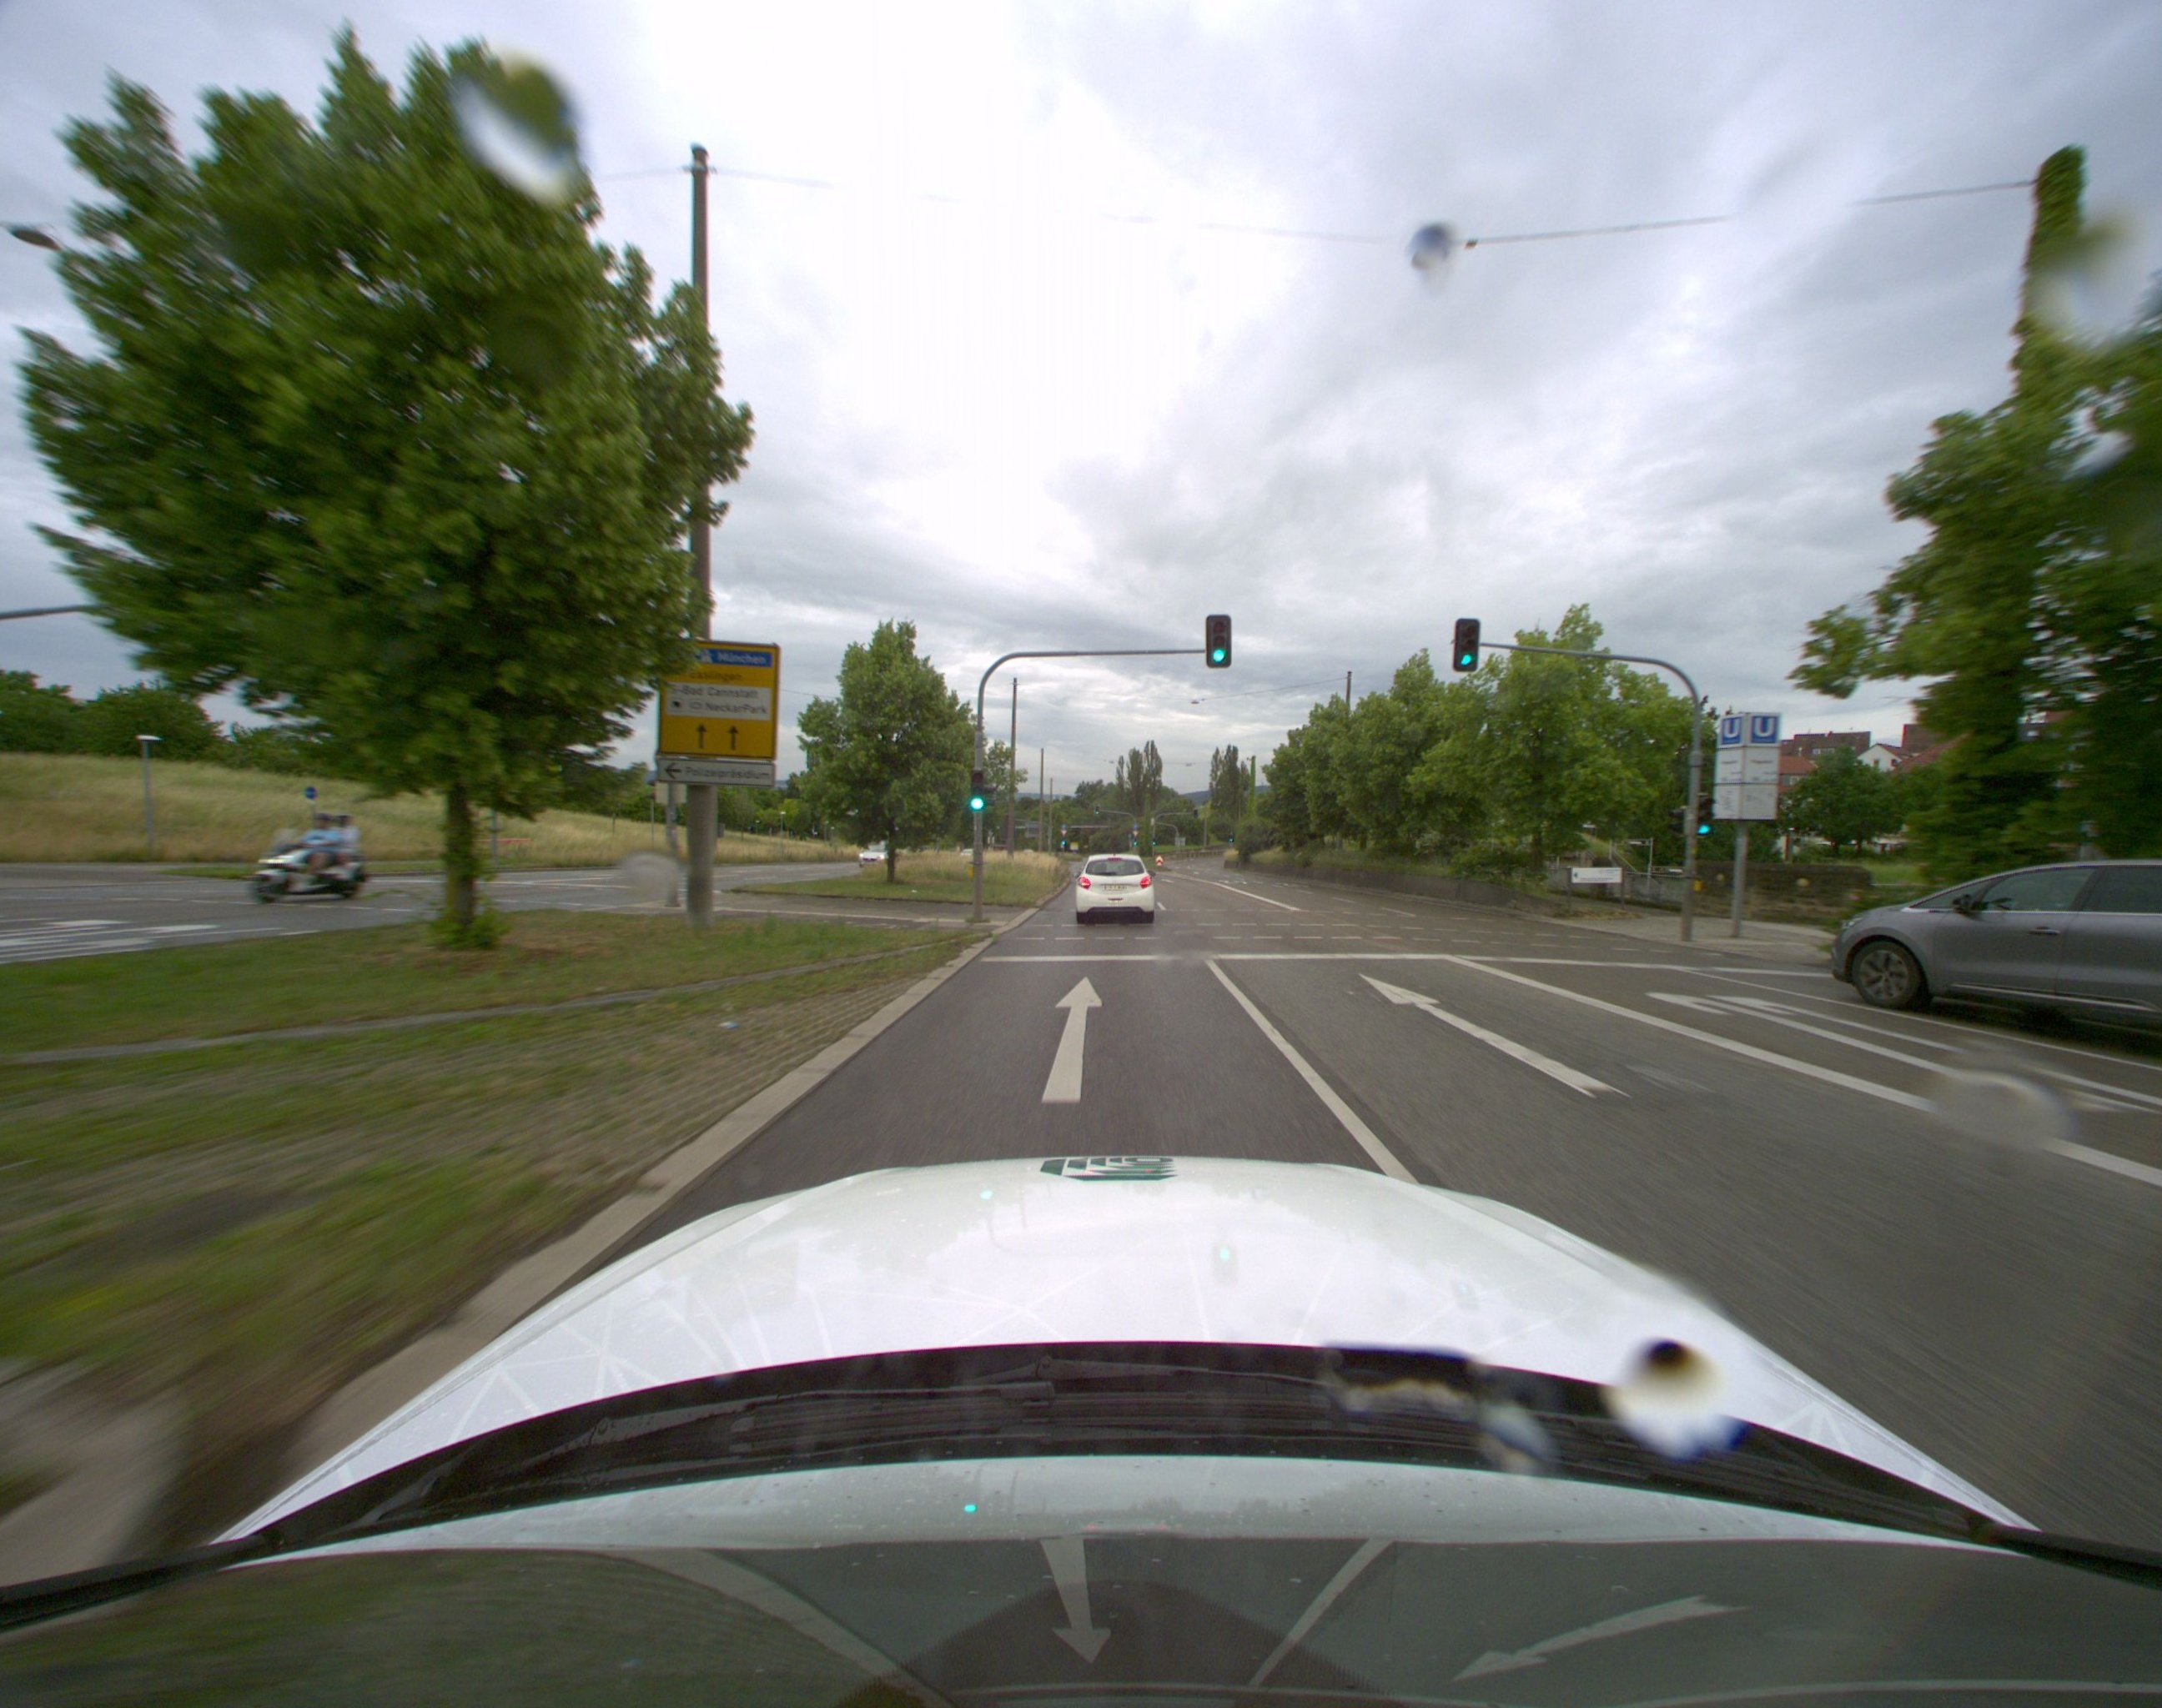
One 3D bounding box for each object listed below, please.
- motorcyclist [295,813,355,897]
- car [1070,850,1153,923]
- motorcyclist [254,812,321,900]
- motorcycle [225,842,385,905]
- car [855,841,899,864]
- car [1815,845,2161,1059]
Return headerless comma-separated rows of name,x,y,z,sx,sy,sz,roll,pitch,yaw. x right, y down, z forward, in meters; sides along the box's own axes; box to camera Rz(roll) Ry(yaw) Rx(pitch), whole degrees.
motorcyclist,-14.648,0.015,15.797,0.610,1.581,0.582,1,1,1
car,0.683,0.669,18.671,1.702,1.440,3.692,-1,1,2
motorcyclist,-14.680,0.024,15.076,0.580,1.596,0.643,1,2,1
motorcycle,-14.686,0.332,15.546,0.615,1.050,2.503,1,2,1
car,-13.008,-0.068,52.195,1.531,1.389,3.932,1,0,4
car,9.345,0.804,7.108,1.719,1.649,4.626,3,1,1
